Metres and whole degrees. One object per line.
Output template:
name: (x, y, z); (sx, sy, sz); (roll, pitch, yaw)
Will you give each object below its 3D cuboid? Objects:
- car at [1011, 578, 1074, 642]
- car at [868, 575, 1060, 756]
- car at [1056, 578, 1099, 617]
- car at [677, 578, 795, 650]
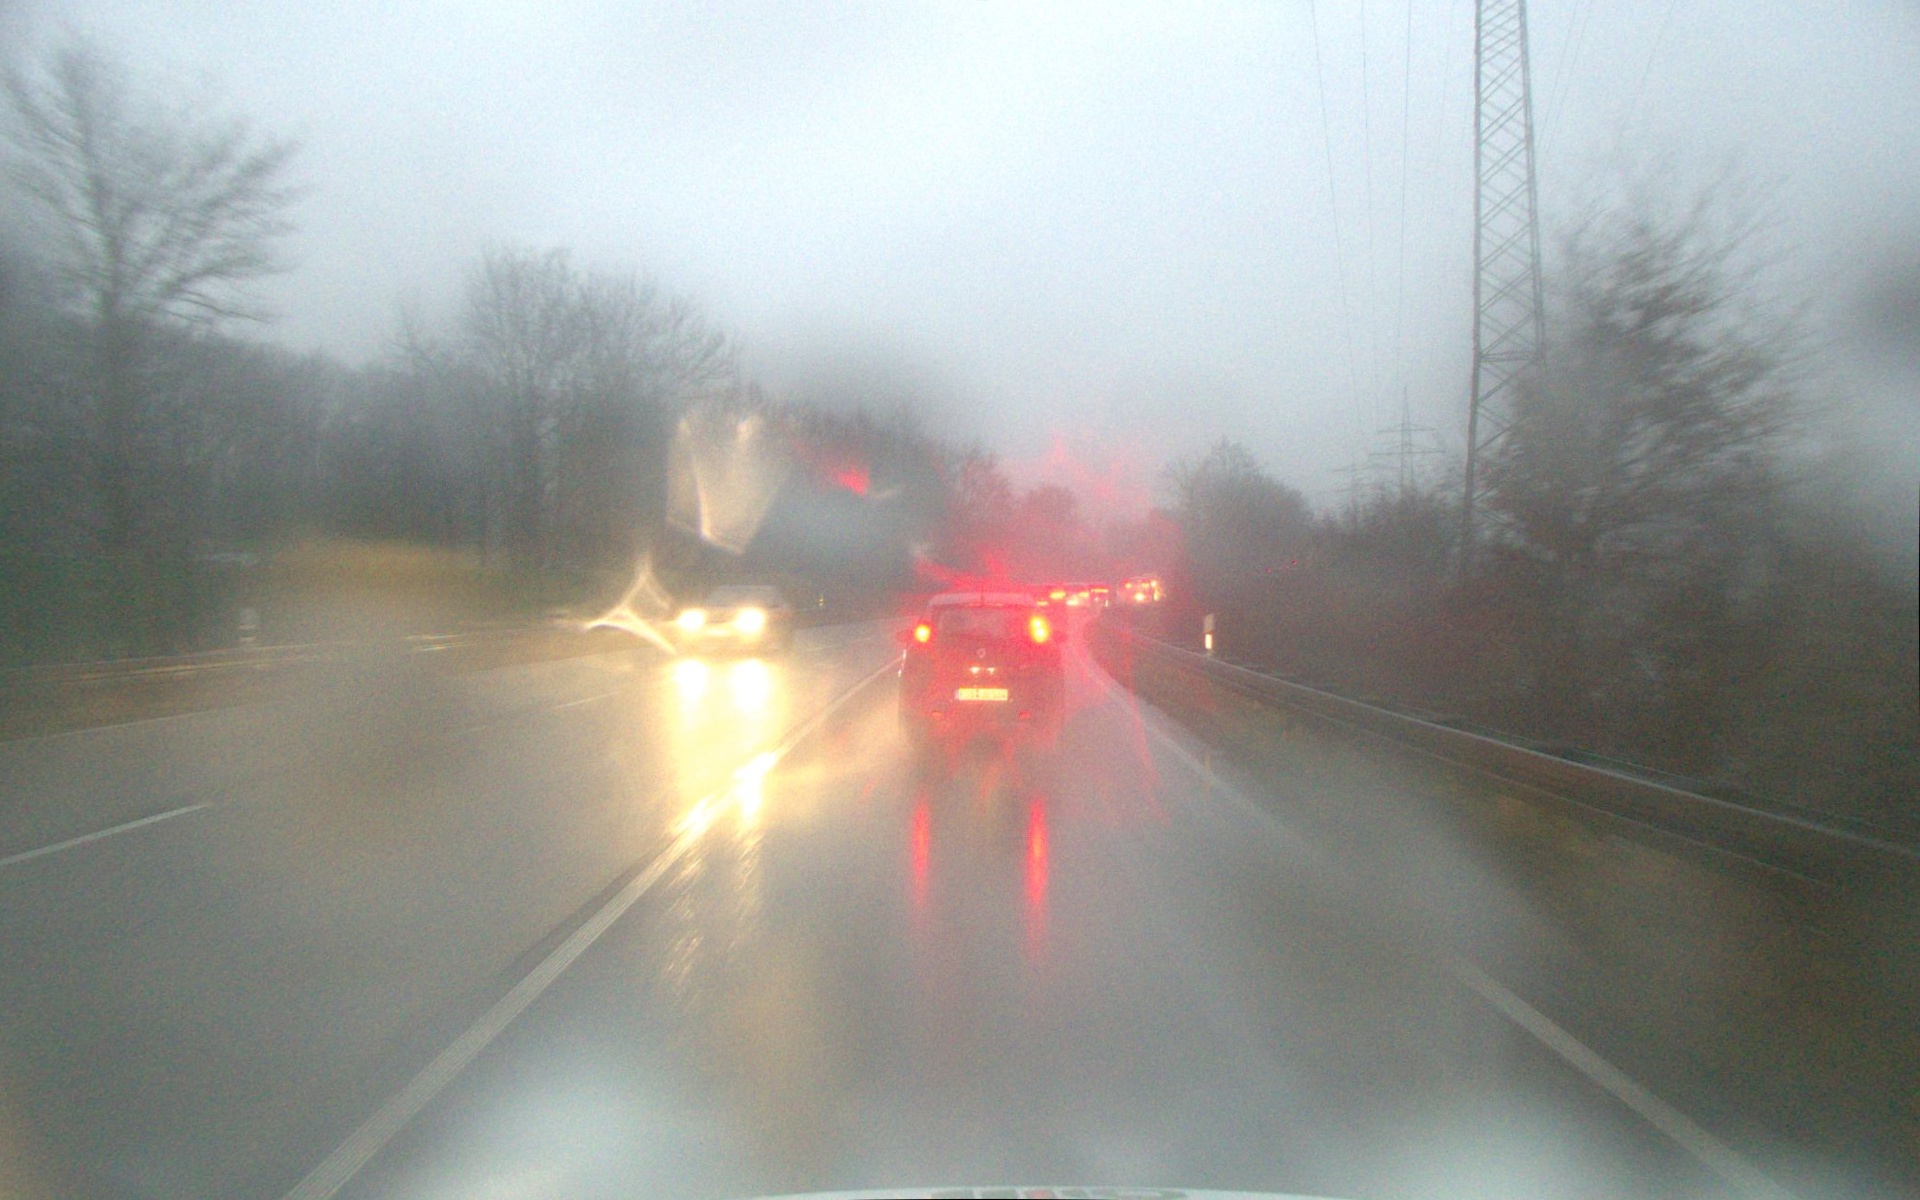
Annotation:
car: (2.887, 0.368, 58.701); (1.906, 2.048, 4.000); (-5, -1, 0)
car: (0.009, 0.586, 17.559); (1.695, 1.559, 4.042); (-4, 1, -1)
car: (5.840, -0.143, 81.777); (1.904, 1.775, 4.004); (-1, 2, 6)
car: (-5.031, 0.276, 37.723); (1.825, 1.527, 4.524); (-1, 1, 3)
